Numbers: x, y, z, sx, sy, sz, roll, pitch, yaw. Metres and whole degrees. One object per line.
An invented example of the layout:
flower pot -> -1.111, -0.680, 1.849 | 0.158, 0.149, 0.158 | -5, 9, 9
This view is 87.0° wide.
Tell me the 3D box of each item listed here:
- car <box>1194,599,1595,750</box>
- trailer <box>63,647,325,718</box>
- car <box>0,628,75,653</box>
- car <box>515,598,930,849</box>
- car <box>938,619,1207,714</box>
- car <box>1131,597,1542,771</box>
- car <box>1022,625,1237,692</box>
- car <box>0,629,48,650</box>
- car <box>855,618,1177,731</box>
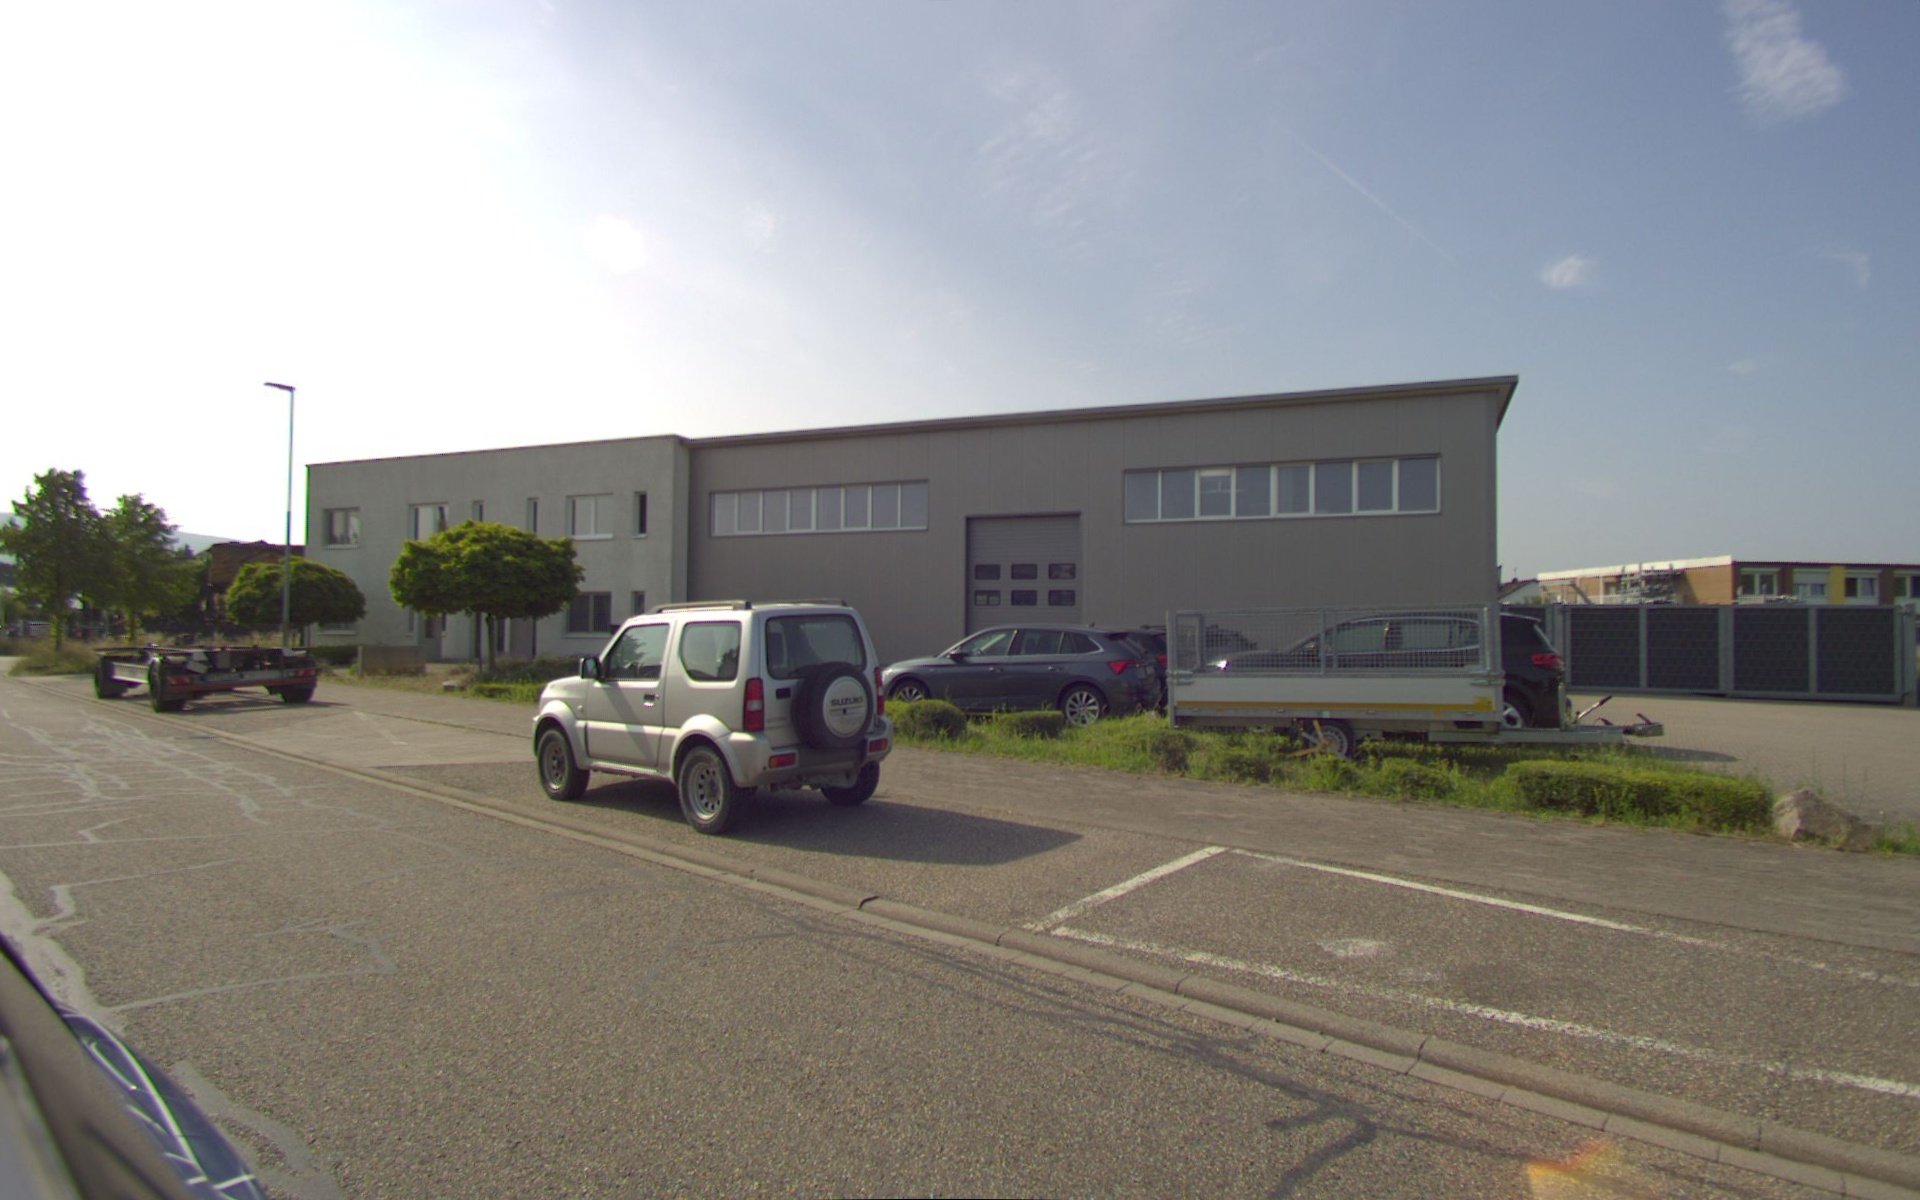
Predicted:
car -> 5.420, 0.884, 13.069 | 4.394, 1.671, 1.980 | -1, -2, 24
trailer -> -16.549, 1.607, 21.477 | 9.726, 1.082, 2.519 | -2, -1, 41
car -> -65.644, 2.854, 71.887 | 1.999, 1.741, 3.945 | -2, -3, 41
car -> -2.132, 0.872, 8.530 | 3.642, 1.663, 1.580 | -2, -2, 41
car -> 1.930, 1.084, 17.384 | 4.320, 1.487, 1.672 | -1, -2, 22
car -> 3.930, 0.795, 10.854 | 3.793, 1.584, 1.824 | -1, 0, 24
car -> 3.701, 1.229, 22.022 | 4.320, 1.335, 1.981 | -1, -2, 22
car -> -82.160, 3.412, 87.803 | 1.984, 1.807, 3.974 | -1, -2, 19
car -> 0.832, 1.031, 15.077 | 4.394, 1.487, 1.966 | -1, -2, 24
